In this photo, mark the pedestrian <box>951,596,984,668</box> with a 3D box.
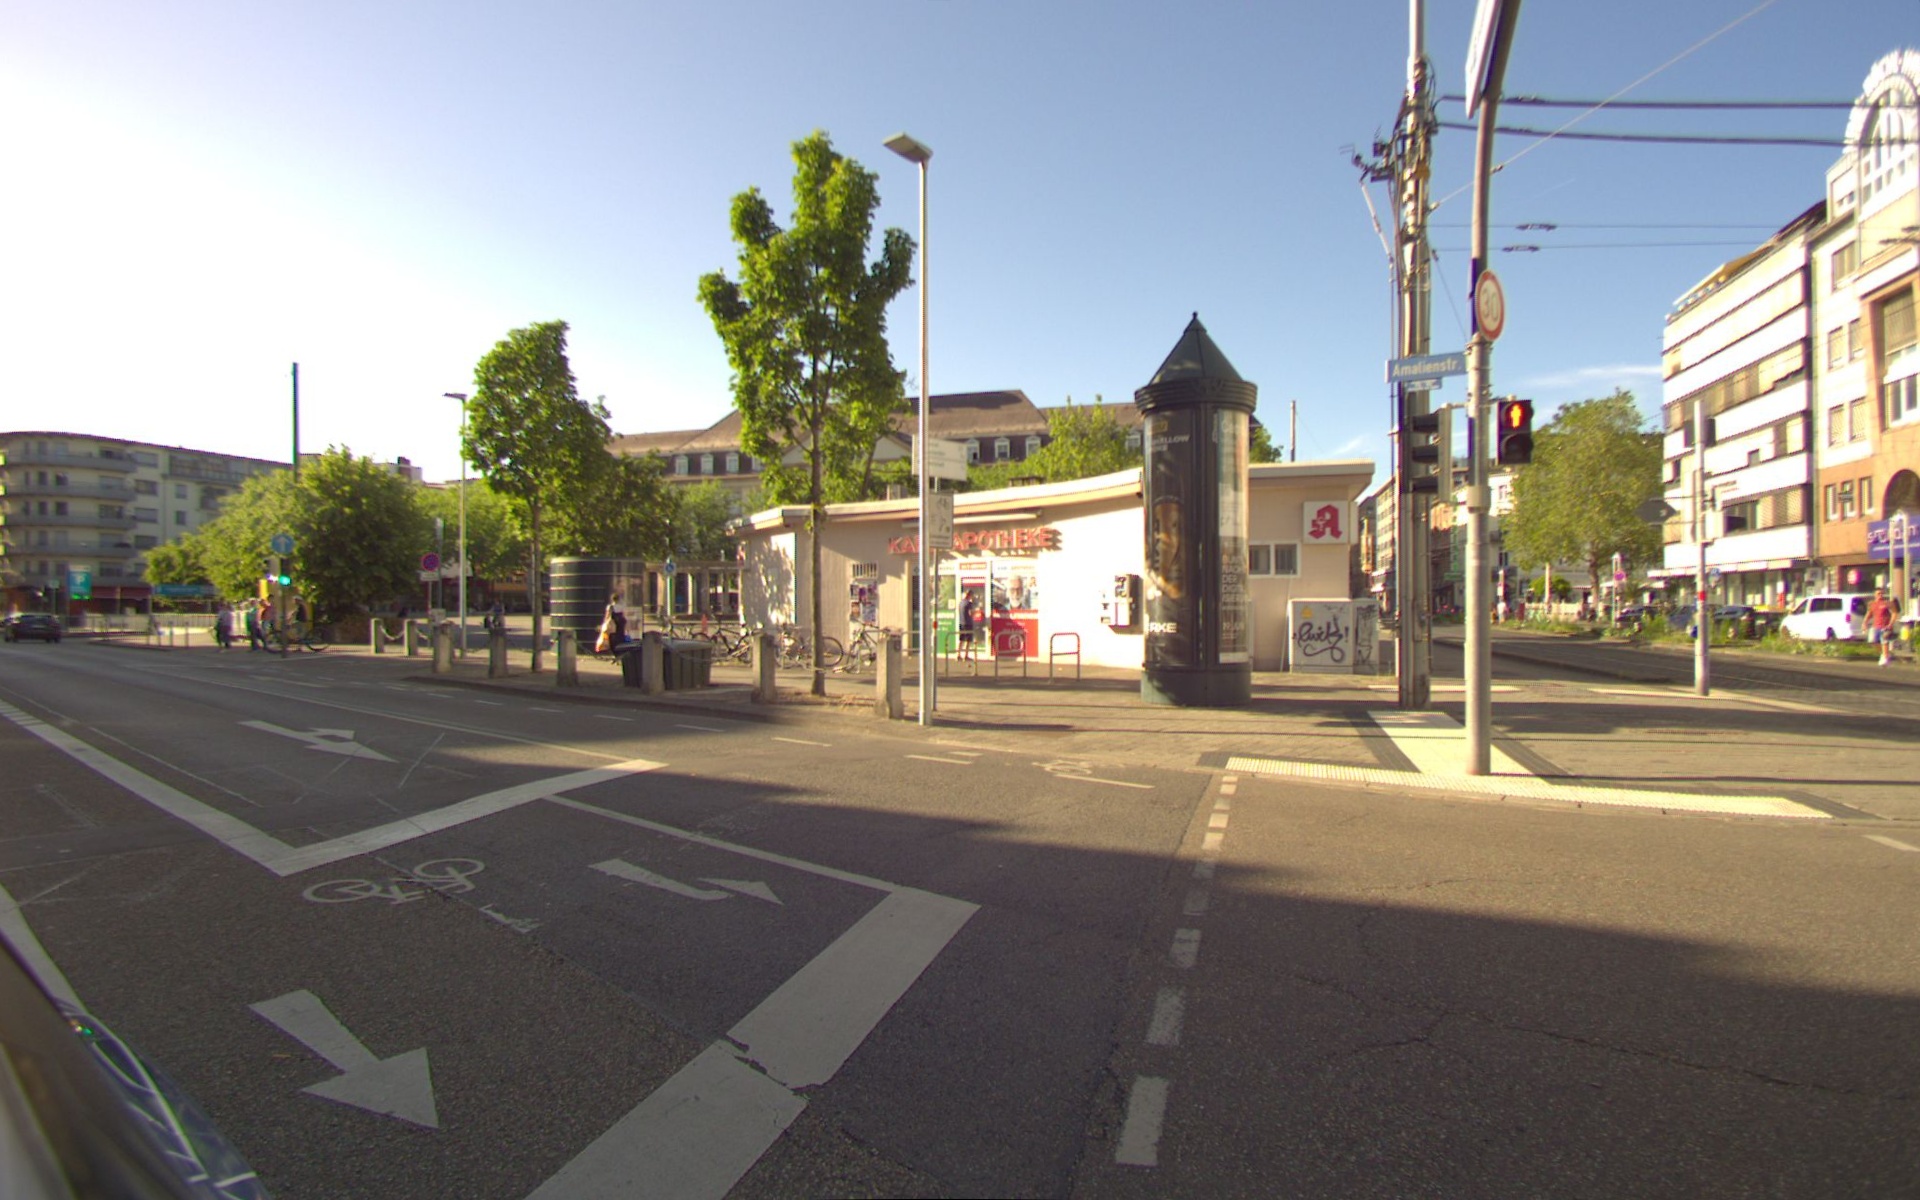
[{"bbox_3d":[0.176,0.760,24.519,0.611,1.722,0.514,-1,-1,41],"label":"pedestrian"}]

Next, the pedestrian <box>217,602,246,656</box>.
[{"bbox_3d":[-25.358,1.008,35.242,0.640,1.871,0.626,-1,-1,-17],"label":"pedestrian"}]

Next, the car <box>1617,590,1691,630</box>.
[{"bbox_3d":[36.132,0.527,52.792,1.982,2.029,3.979,-1,-1,16],"label":"car"}]

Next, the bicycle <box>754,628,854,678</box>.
[{"bbox_3d":[-3.439,1.147,22.335,1.985,1.010,0.890,-1,0,-35],"label":"bicycle"}]

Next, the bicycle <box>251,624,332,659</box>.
[{"bbox_3d":[-22.136,1.355,33.558,2.138,1.080,0.766,-1,0,-28],"label":"bicycle"}]

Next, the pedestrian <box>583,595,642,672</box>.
[{"bbox_3d":[-8.089,0.763,23.581,1.086,1.711,0.889,-1,0,44],"label":"pedestrian"}]

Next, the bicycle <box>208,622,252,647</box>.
[{"bbox_3d":[-32.121,1.510,44.542,0.364,1.039,1.529,-1,-1,40],"label":"bicycle"}]

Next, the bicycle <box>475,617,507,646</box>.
[{"bbox_3d":[-19.239,1.273,41.483,0.927,1.141,2.486,0,-1,-31],"label":"bicycle"}]

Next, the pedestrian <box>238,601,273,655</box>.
[{"bbox_3d":[-23.912,0.936,34.353,0.776,1.825,0.586,-1,-1,15],"label":"pedestrian"}]

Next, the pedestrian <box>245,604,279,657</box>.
[{"bbox_3d":[-24.266,1.051,35.175,0.772,1.825,0.590,-1,0,-3],"label":"pedestrian"}]

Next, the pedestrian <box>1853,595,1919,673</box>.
[{"bbox_3d":[20.799,0.746,22.563,0.930,1.676,0.919,0,-1,-12],"label":"pedestrian"}]

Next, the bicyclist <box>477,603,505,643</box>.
[{"bbox_3d":[-19.203,0.923,41.455,0.927,1.620,1.174,0,-1,-31],"label":"bicyclist"}]

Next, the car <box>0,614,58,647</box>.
[{"bbox_3d":[-43.830,1.425,47.474,4.040,1.408,1.633,-1,-5,40],"label":"car"}]

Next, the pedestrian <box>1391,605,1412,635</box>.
[{"bbox_3d":[42.438,1.924,97.226,1.830,2.811,1.282,-1,-1,26],"label":"pedestrian"}]

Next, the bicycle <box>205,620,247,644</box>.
[{"bbox_3d":[-33.074,1.417,45.614,1.506,1.039,0.365,-1,-1,-34],"label":"bicycle"}]

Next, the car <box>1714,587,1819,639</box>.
[{"bbox_3d":[33.298,0.549,41.929,1.982,2.029,3.979,-1,-1,16],"label":"car"}]

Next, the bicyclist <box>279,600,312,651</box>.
[{"bbox_3d":[-22.039,0.835,33.562,0.791,1.661,0.997,-1,0,-27],"label":"bicyclist"}]

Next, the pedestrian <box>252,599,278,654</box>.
[{"bbox_3d":[-24.824,0.946,36.129,0.784,1.932,0.601,-1,-1,43],"label":"pedestrian"}]

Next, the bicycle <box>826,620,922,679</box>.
[{"bbox_3d":[-1.747,0.990,20.788,0.753,1.096,1.967,-1,0,42],"label":"bicycle"}]

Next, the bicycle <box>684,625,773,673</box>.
[{"bbox_3d":[-5.359,1.111,23.454,1.861,1.010,0.766,-1,0,-41],"label":"bicycle"}]

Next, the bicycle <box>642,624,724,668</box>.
[{"bbox_3d":[-6.972,1.135,25.518,1.861,1.010,0.766,-1,0,-41],"label":"bicycle"}]

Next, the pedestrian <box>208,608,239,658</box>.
[{"bbox_3d":[-25.087,1.122,34.481,0.676,1.686,0.699,-1,0,-17],"label":"pedestrian"}]

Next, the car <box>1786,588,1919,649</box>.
[{"bbox_3d":[32.043,0.651,36.435,1.985,2.029,4.811,-1,-1,19],"label":"car"}]
